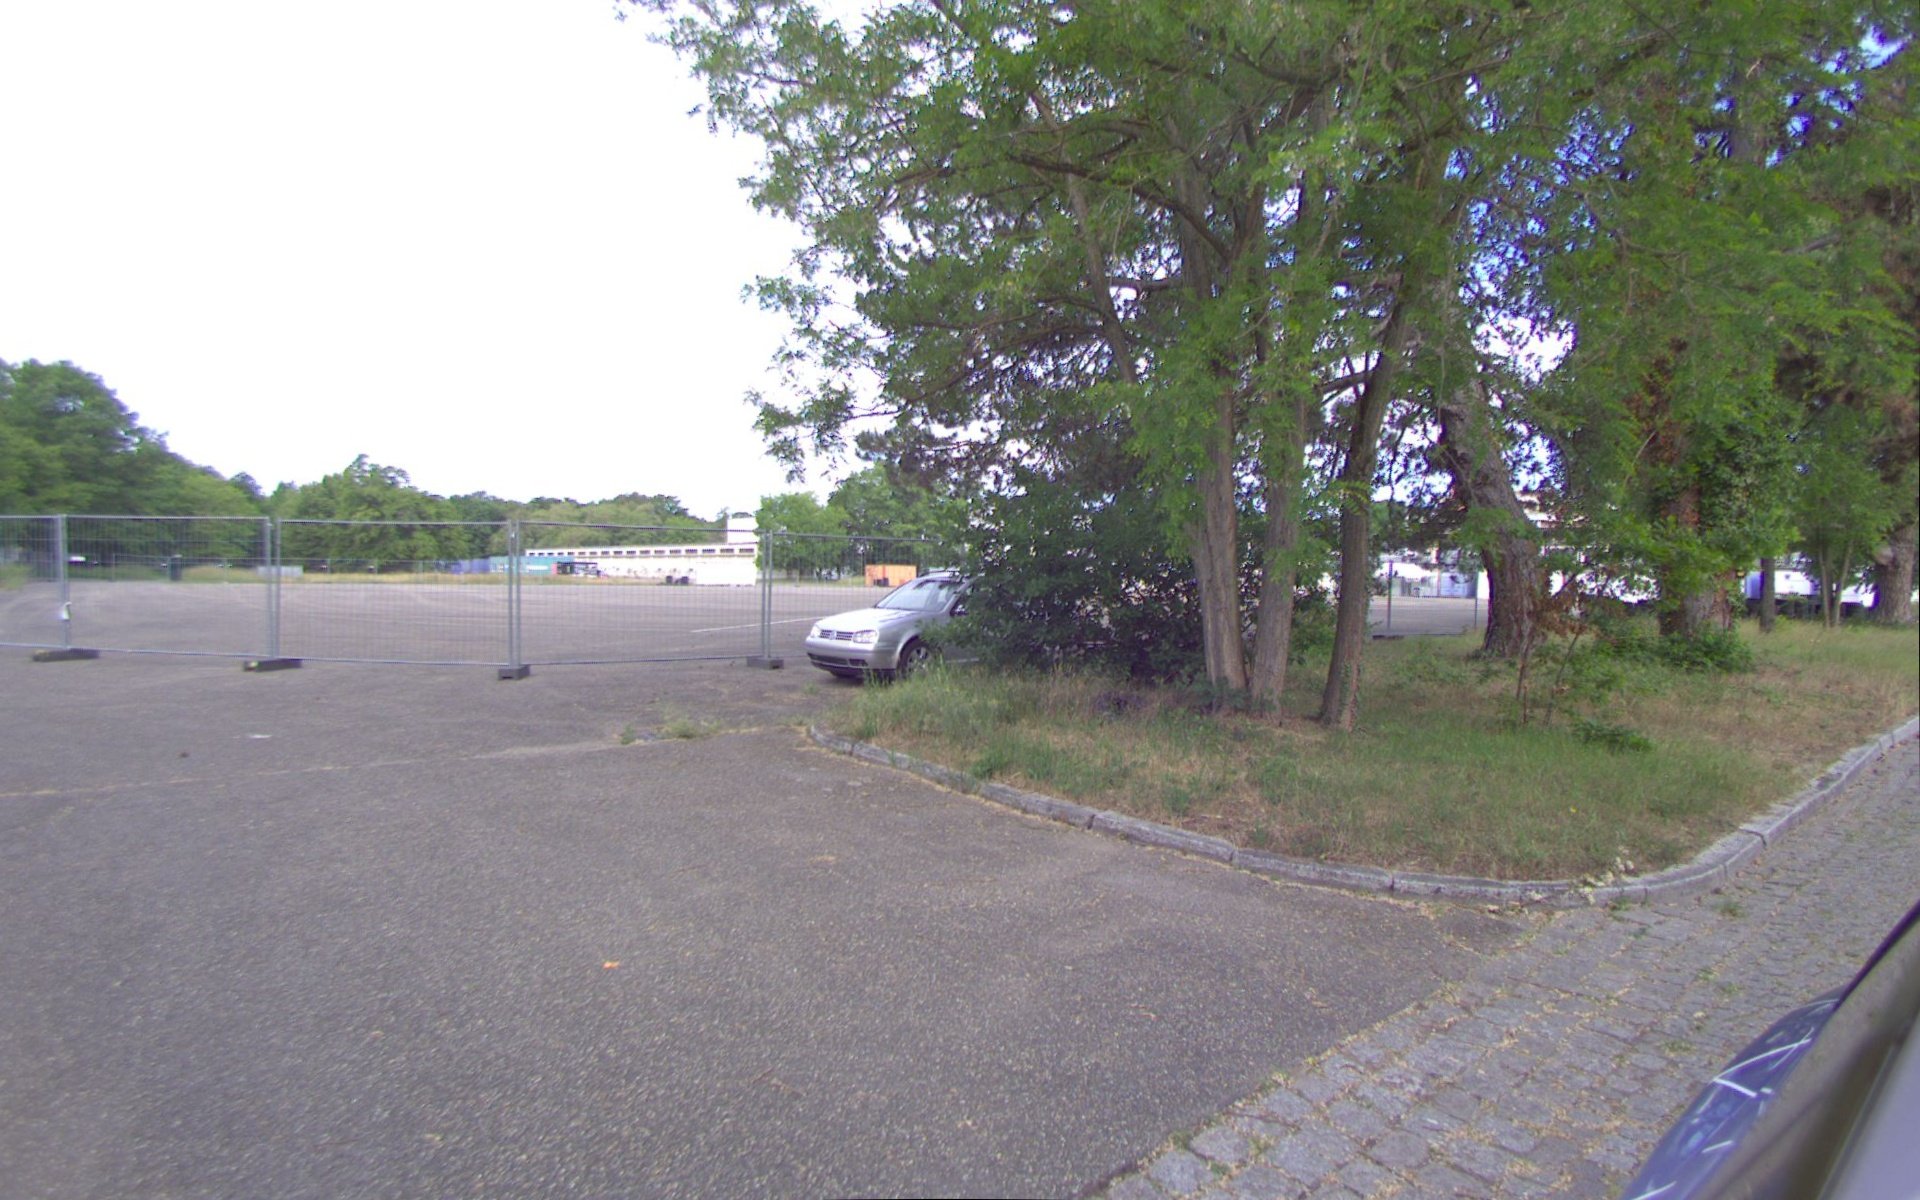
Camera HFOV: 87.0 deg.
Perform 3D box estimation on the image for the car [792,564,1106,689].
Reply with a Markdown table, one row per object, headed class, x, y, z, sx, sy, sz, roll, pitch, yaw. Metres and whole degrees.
| class | x | y | z | sx | sy | sz | roll | pitch | yaw |
| --- | --- | --- | --- | --- | --- | --- | --- | --- | --- |
| car | -0.009 | 0.271 | 14.028 | 4.415 | 1.469 | 1.675 | -1 | 2 | -44 |
